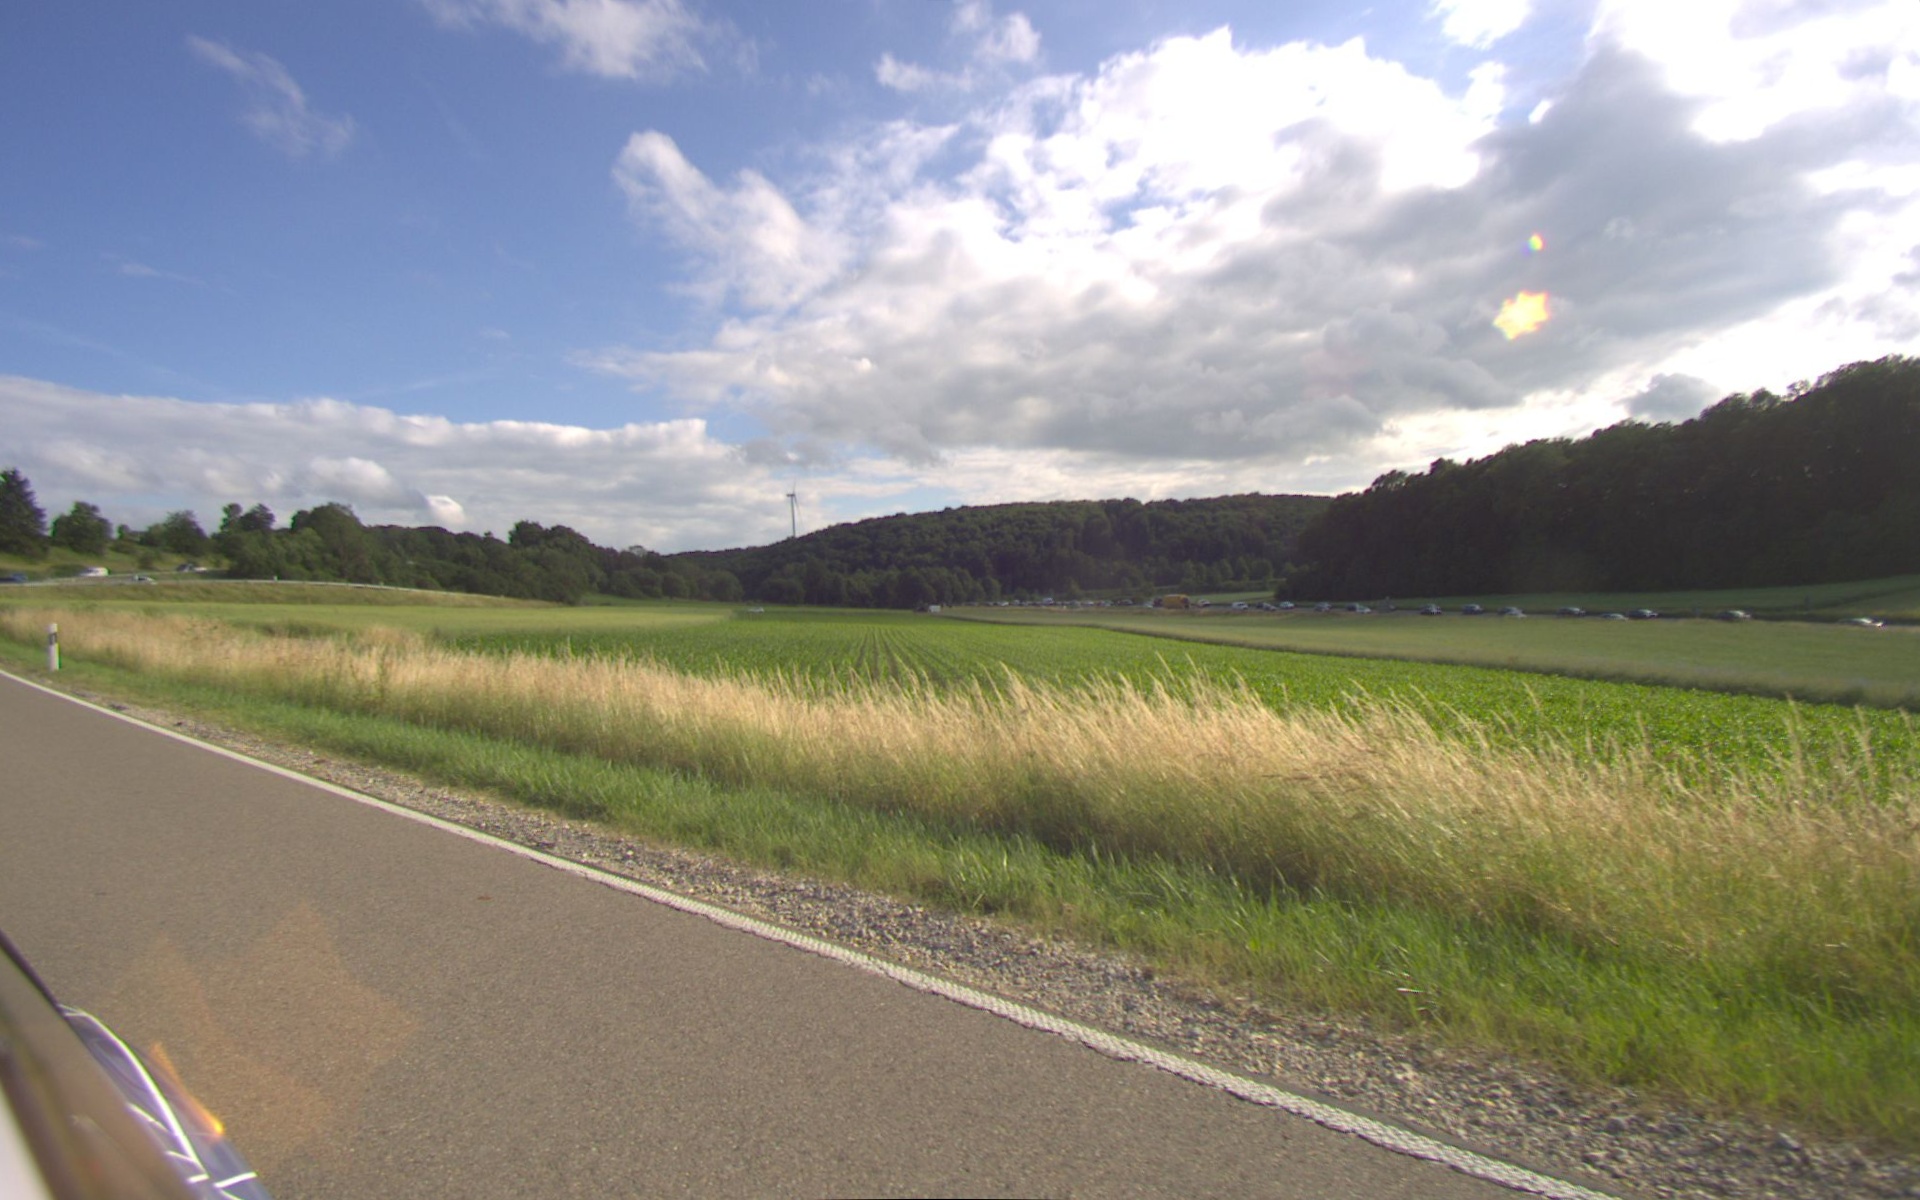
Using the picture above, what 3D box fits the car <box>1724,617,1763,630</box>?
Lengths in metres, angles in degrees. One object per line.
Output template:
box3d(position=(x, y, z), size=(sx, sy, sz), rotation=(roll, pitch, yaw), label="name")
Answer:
box3d(position=(101.106, 3.008, 130.637), size=(1.776, 1.599, 4.002), rotation=(-2, 0, -3), label="car")
